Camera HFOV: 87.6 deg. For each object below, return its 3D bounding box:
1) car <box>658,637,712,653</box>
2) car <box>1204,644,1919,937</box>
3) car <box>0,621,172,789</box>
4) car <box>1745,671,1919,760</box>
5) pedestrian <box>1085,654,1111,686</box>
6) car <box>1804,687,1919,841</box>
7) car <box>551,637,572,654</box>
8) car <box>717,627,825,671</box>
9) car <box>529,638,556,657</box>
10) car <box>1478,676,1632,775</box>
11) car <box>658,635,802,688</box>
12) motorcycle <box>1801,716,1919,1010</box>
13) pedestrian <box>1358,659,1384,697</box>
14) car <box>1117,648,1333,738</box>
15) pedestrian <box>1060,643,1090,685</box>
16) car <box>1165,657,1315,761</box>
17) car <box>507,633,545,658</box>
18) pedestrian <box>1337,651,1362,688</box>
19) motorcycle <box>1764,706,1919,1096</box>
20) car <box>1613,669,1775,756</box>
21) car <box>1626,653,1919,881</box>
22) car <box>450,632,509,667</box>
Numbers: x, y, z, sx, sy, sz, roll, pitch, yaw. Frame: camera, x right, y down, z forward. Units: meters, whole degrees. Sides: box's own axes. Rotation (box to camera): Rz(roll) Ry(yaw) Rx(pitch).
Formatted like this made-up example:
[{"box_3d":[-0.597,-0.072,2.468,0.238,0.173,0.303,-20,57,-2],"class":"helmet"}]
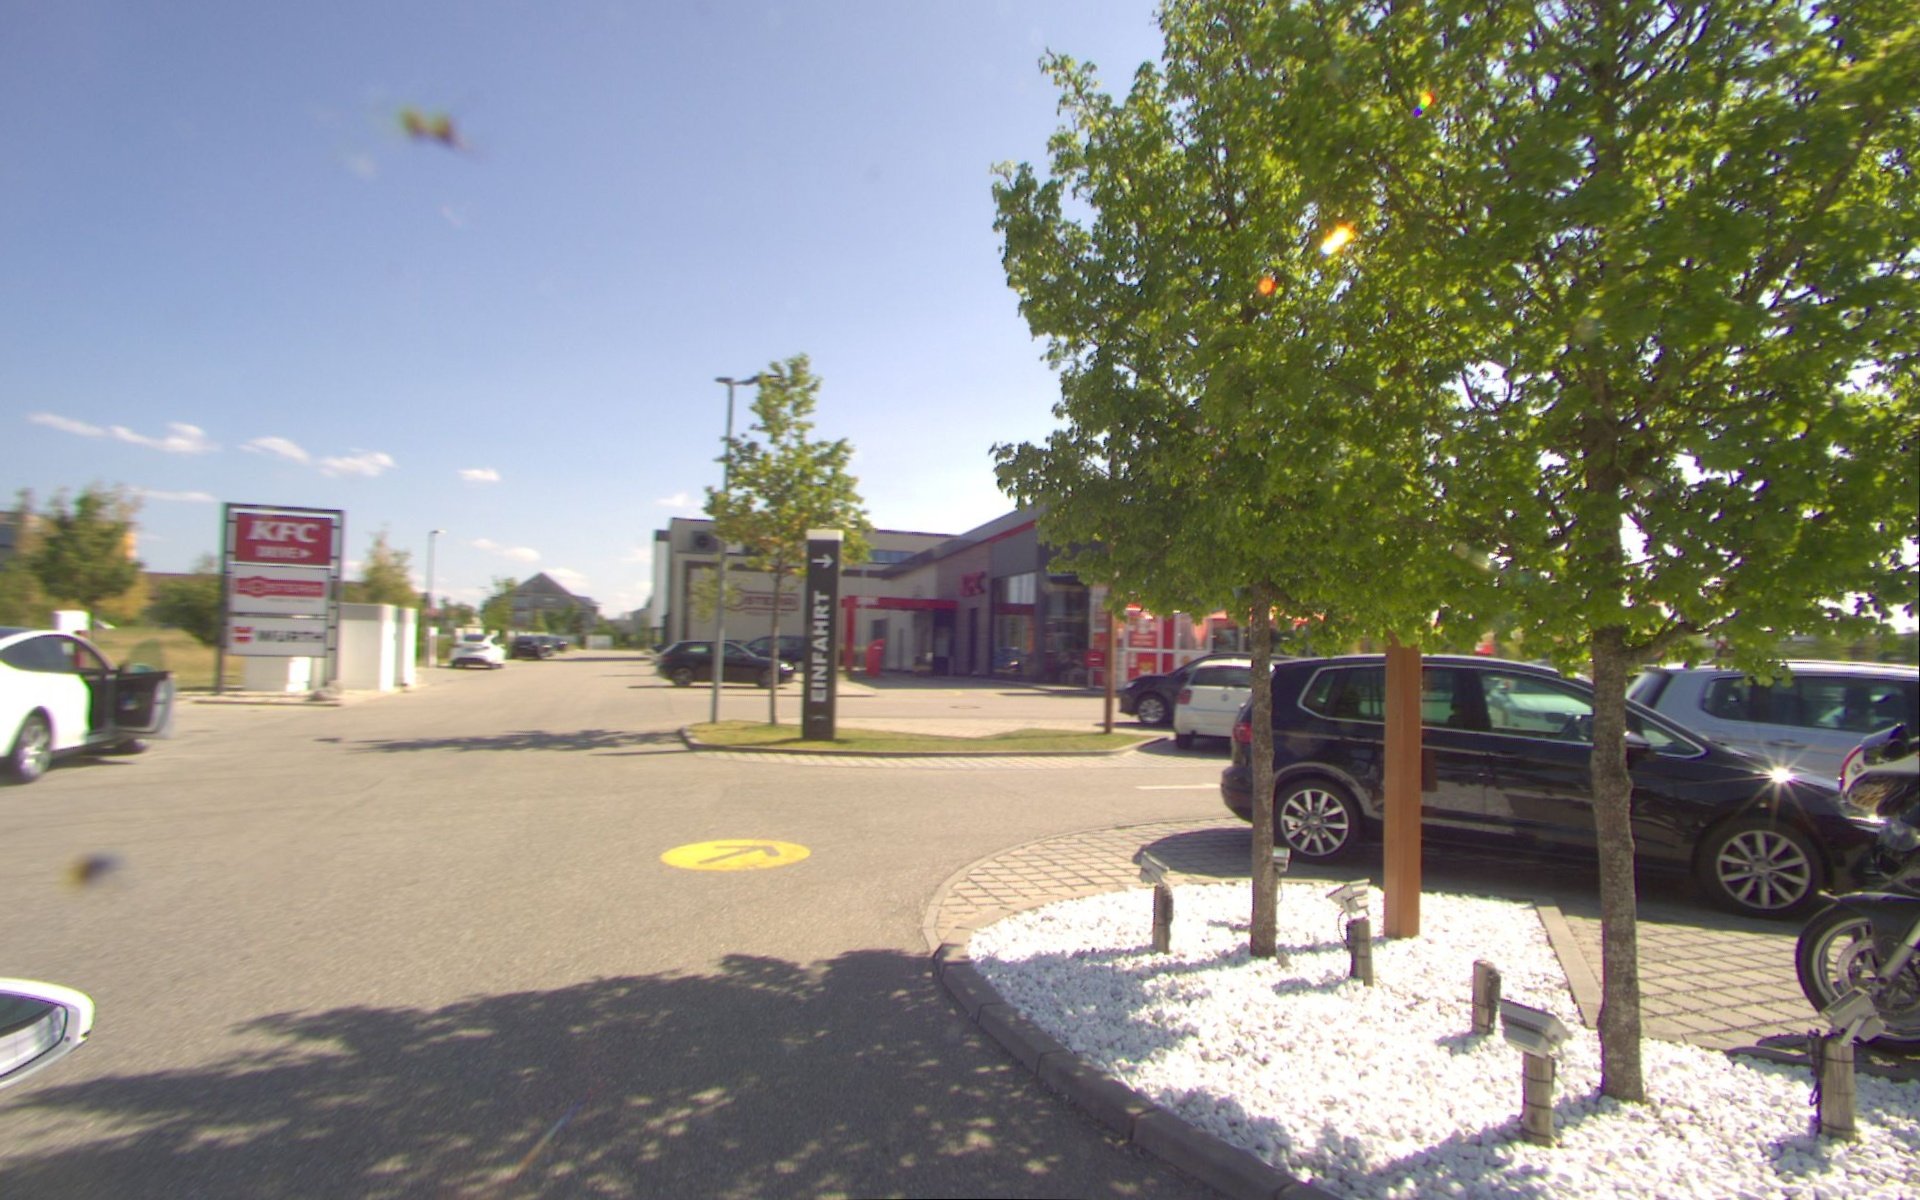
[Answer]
[{"box_3d":[-21.222,3.462,77.257,3.933,1.171,1.996,2,-2,-20],"class":"car"},{"box_3d":[4.126,1.185,7.521,4.124,1.556,1.890,1,-3,27],"class":"car"},{"box_3d":[-11.010,1.066,11.463,1.840,1.620,4.477,3,-3,-22],"class":"car"},{"box_3d":[17.456,2.240,20.221,1.792,1.507,3.988,1,-3,27],"class":"car"},{"box_3d":[4.897,2.491,35.541,0.706,1.085,0.627,2,-2,-21],"class":"pedestrian"},{"box_3d":[11.115,1.703,9.800,4.017,1.425,1.788,1,-2,27],"class":"car"},{"box_3d":[-38.081,4.323,95.770,1.719,1.588,3.992,3,-3,-20],"class":"car"},{"box_3d":[-8.156,2.128,43.299,4.315,1.706,1.636,3,-2,-23],"class":"car"},{"box_3d":[-33.147,3.778,79.597,1.719,1.404,3.992,3,-3,-20],"class":"car"},{"box_3d":[11.100,2.263,18.983,1.882,1.490,4.464,1,-3,23],"class":"car"},{"box_3d":[-7.110,1.902,30.938,4.143,1.459,1.695,3,-2,-19],"class":"car"},{"box_3d":[5.256,1.237,4.481,2.103,1.246,0.820,2,-2,20],"class":"motorcycle"},{"box_3d":[14.375,2.727,34.999,0.680,1.285,0.590,4,-3,-44],"class":"pedestrian"},{"box_3d":[5.497,1.868,20.831,4.023,1.596,1.751,0,-3,28],"class":"car"},{"box_3d":[4.066,2.258,35.464,0.787,1.453,0.770,2,-2,-21],"class":"pedestrian"},{"box_3d":[4.853,1.738,16.960,1.813,1.443,4.176,1,-3,24],"class":"car"},{"box_3d":[-29.498,3.089,68.199,1.918,1.588,3.993,3,-3,-18],"class":"car"},{"box_3d":[13.842,2.468,35.580,0.680,1.285,0.590,4,-3,-44],"class":"pedestrian"},{"box_3d":[4.337,1.096,3.438,2.214,1.266,1.069,2,-3,24],"class":"motorcycle"},{"box_3d":[14.210,2.116,19.631,1.791,1.420,3.990,1,-3,25],"class":"car"},{"box_3d":[8.024,1.359,8.245,4.002,1.660,1.743,1,-2,27],"class":"car"},{"box_3d":[-22.946,2.351,47.971,1.917,1.588,3.994,3,-3,-18],"class":"car"}]
